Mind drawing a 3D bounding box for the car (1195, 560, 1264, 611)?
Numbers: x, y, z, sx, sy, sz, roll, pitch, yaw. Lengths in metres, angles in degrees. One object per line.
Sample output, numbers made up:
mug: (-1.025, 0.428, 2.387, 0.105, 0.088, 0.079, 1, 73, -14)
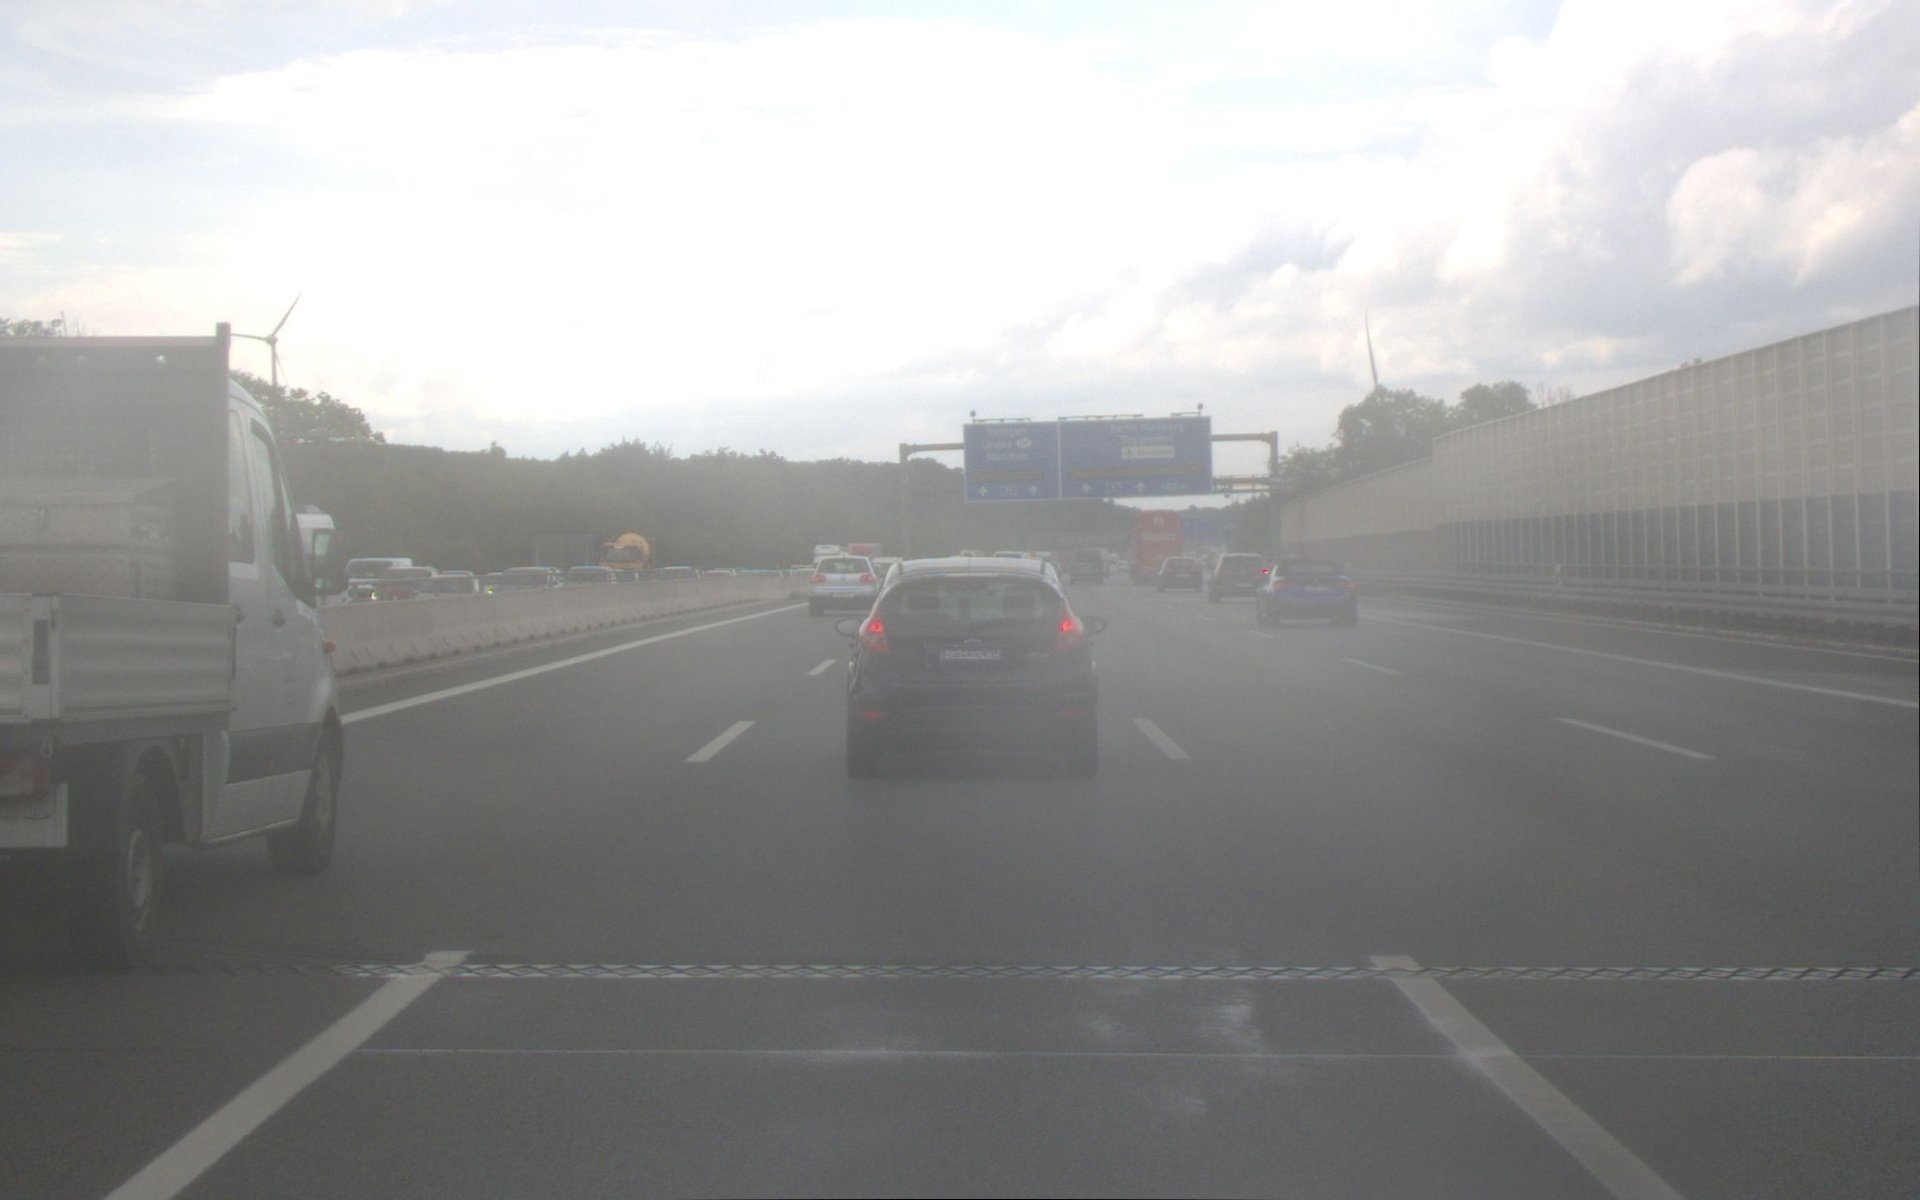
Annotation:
car: (8.440, -0.468, 107.892, 1.882, 1.537, 4.433, -1, 0, 1)

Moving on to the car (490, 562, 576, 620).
car: (-12.730, -0.275, 102.791, 1.723, 1.640, 5.062, 1, 0, 2)

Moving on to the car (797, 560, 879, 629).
car: (-3.003, -0.161, 85.551, 1.717, 1.618, 4.278, 0, 1, 2)

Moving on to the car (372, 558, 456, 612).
car: (-17.091, -0.475, 107.713, 1.723, 1.640, 4.519, 1, 0, 2)

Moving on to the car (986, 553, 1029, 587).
car: (2.230, -1.414, 163.146, 1.968, 1.555, 4.433, -1, 0, 0)

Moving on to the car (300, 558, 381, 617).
car: (-20.835, -0.425, 115.816, 1.688, 1.929, 5.548, 1, 0, 0)

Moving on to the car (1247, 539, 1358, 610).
car: (7.086, -0.533, 71.555, 1.950, 1.413, 4.232, -1, 0, 1)

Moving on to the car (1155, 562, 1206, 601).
car: (9.247, -0.777, 144.420, 1.882, 1.555, 4.433, -1, 0, 0)

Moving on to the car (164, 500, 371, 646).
car: (-14.131, -0.651, 70.828, 2.231, 2.740, 9.164, 0, 2, 1)

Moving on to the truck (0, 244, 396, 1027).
truck: (-4.016, 0.030, 14.226, 2.307, 2.431, 7.149, 0, 1, -1)

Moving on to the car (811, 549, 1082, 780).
car: (-0.075, 0.379, 23.944, 1.717, 1.412, 4.279, 0, 1, 0)

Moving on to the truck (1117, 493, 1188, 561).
truck: (10.534, -4.027, 189.401, 3.152, 3.589, 12.700, 1, 1, 0)

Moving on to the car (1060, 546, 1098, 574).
car: (6.725, -2.252, 193.885, 1.968, 1.555, 4.433, -1, 0, 0)

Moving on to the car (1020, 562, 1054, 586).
car: (5.034, -1.708, 225.198, 1.968, 1.555, 4.433, -1, 0, -1)

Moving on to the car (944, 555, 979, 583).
car: (0.080, -1.760, 196.845, 1.968, 1.555, 4.433, -1, 0, 0)
